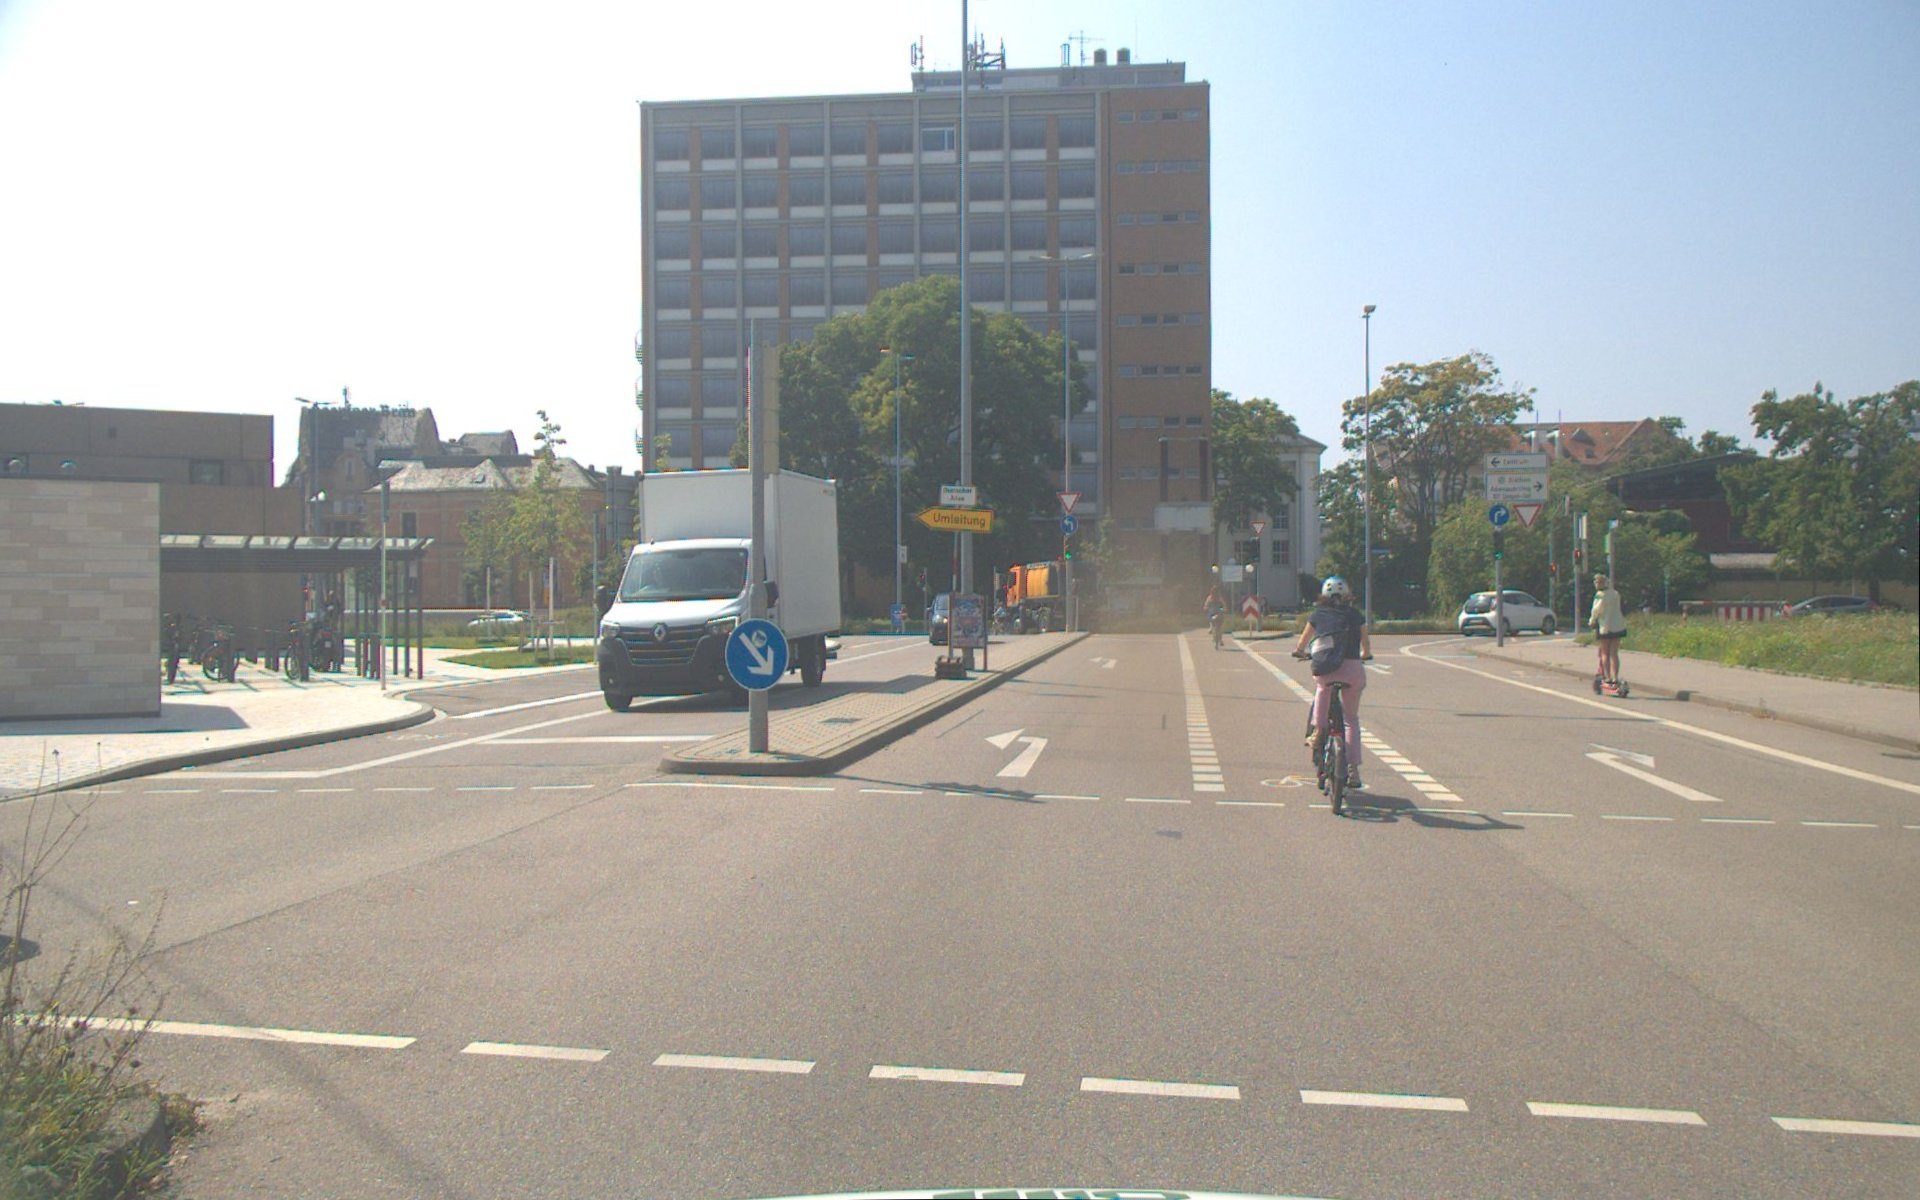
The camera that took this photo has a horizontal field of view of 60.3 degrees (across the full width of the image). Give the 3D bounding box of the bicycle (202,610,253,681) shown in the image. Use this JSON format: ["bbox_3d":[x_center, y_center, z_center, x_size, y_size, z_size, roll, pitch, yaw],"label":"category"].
[{"bbox_3d":[-13.196,0.796,29.841,0.594,1.232,1.802,0,0,-16],"label":"bicycle"}]

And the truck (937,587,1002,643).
[{"bbox_3d":[0.313,0.417,48.084,1.522,1.530,3.623,-1,0,6],"label":"truck"}]

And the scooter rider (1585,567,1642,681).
[{"bbox_3d":[10.442,0.381,26.428,0.745,1.806,0.555,0,0,12],"label":"scooter rider"}]

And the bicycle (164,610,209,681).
[{"bbox_3d":[-13.825,0.794,29.579,0.531,1.232,1.604,0,0,-19],"label":"bicycle"}]

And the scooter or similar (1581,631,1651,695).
[{"bbox_3d":[10.405,0.991,26.295,0.755,0.943,1.622,0,0,11],"label":"scooter or similar"}]

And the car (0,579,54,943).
[{"bbox_3d":[-5.172,0.708,5.453,1.660,1.557,4.186,-1,0,8],"label":"car"}]

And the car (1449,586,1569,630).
[{"bbox_3d":[18.434,0.252,55.474,3.953,1.416,1.826,-1,0,-35],"label":"car"}]

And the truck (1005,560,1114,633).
[{"bbox_3d":[4.252,-0.124,71.926,2.656,3.042,5.931,0,0,-20],"label":"truck"}]

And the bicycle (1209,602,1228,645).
[{"bbox_3d":[6.965,0.628,44.591,0.434,1.136,1.447,-1,0,6],"label":"bicycle"}]

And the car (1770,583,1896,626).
[{"bbox_3d":[33.622,0.155,63.768,3.902,1.593,1.825,-1,0,10],"label":"car"}]

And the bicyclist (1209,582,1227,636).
[{"bbox_3d":[6.973,0.232,44.716,0.440,1.446,0.496,-1,0,6],"label":"bicyclist"}]

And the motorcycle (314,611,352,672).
[{"bbox_3d":[-13.462,0.867,35.543,0.594,1.232,2.243,0,0,-16],"label":"motorcycle"}]

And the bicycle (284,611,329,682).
[{"bbox_3d":[-11.944,0.834,30.248,0.594,1.232,1.802,0,0,-16],"label":"bicycle"}]

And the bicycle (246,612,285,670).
[{"bbox_3d":[-15.451,0.889,36.839,0.594,1.232,1.802,0,0,-16],"label":"bicycle"}]

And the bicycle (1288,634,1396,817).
[{"bbox_3d":[2.754,0.866,12.055,0.591,1.183,1.812,0,0,7],"label":"bicycle"}]

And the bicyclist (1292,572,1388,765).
[{"bbox_3d":[2.739,0.482,11.972,0.590,1.358,0.660,0,0,6],"label":"bicyclist"}]

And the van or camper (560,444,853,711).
[{"bbox_3d":[-3.475,-0.296,24.621,2.349,3.364,7.196,-1,0,8],"label":"van or camper"}]
